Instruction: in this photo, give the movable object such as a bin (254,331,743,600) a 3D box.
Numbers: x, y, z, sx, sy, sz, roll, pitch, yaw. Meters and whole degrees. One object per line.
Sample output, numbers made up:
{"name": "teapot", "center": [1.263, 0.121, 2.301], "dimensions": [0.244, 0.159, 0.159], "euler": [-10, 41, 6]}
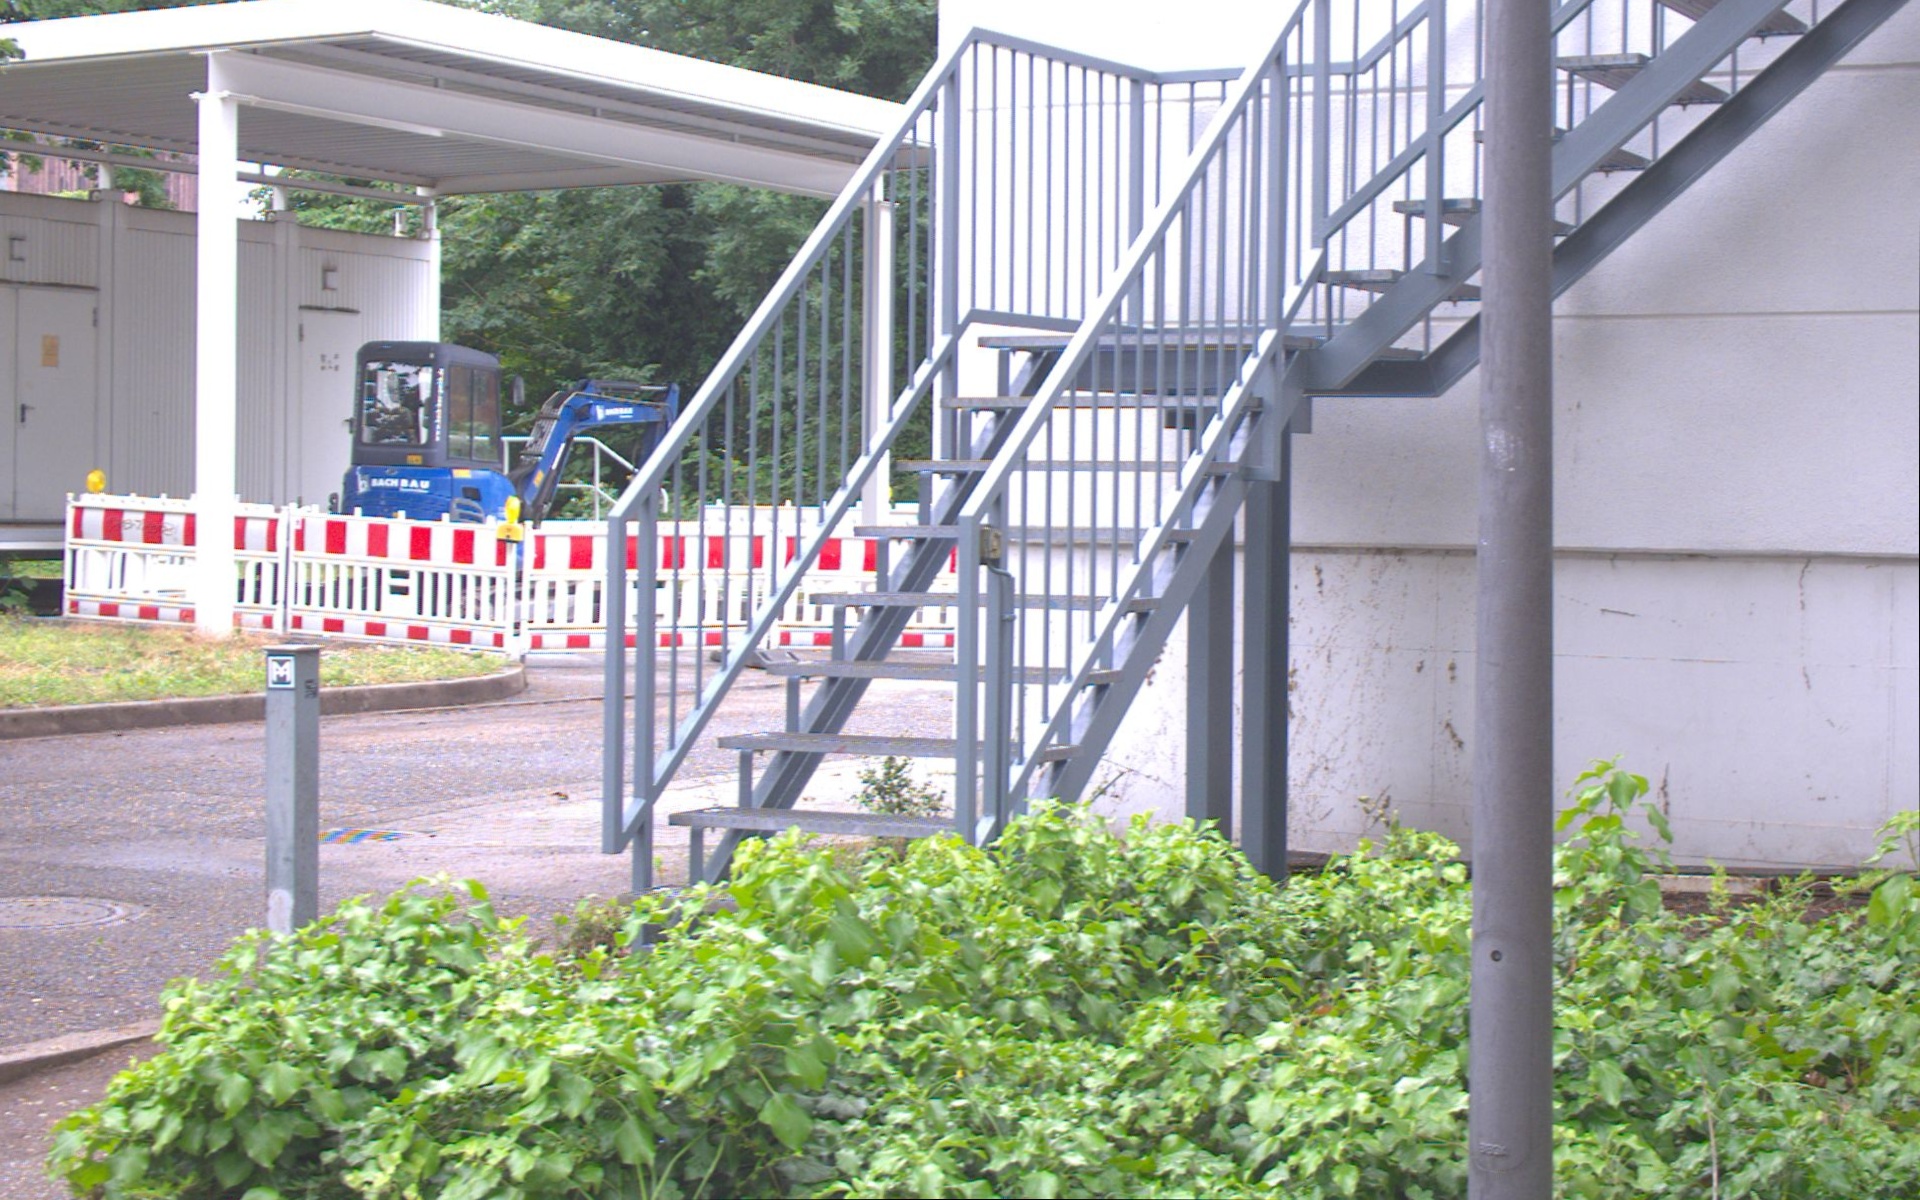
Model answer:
{"name": "movable object such as a bin", "center": [-3.947, -1.119, 30.257], "dimensions": [1.996, 2.164, 4.664], "euler": [2, 1, 26]}
